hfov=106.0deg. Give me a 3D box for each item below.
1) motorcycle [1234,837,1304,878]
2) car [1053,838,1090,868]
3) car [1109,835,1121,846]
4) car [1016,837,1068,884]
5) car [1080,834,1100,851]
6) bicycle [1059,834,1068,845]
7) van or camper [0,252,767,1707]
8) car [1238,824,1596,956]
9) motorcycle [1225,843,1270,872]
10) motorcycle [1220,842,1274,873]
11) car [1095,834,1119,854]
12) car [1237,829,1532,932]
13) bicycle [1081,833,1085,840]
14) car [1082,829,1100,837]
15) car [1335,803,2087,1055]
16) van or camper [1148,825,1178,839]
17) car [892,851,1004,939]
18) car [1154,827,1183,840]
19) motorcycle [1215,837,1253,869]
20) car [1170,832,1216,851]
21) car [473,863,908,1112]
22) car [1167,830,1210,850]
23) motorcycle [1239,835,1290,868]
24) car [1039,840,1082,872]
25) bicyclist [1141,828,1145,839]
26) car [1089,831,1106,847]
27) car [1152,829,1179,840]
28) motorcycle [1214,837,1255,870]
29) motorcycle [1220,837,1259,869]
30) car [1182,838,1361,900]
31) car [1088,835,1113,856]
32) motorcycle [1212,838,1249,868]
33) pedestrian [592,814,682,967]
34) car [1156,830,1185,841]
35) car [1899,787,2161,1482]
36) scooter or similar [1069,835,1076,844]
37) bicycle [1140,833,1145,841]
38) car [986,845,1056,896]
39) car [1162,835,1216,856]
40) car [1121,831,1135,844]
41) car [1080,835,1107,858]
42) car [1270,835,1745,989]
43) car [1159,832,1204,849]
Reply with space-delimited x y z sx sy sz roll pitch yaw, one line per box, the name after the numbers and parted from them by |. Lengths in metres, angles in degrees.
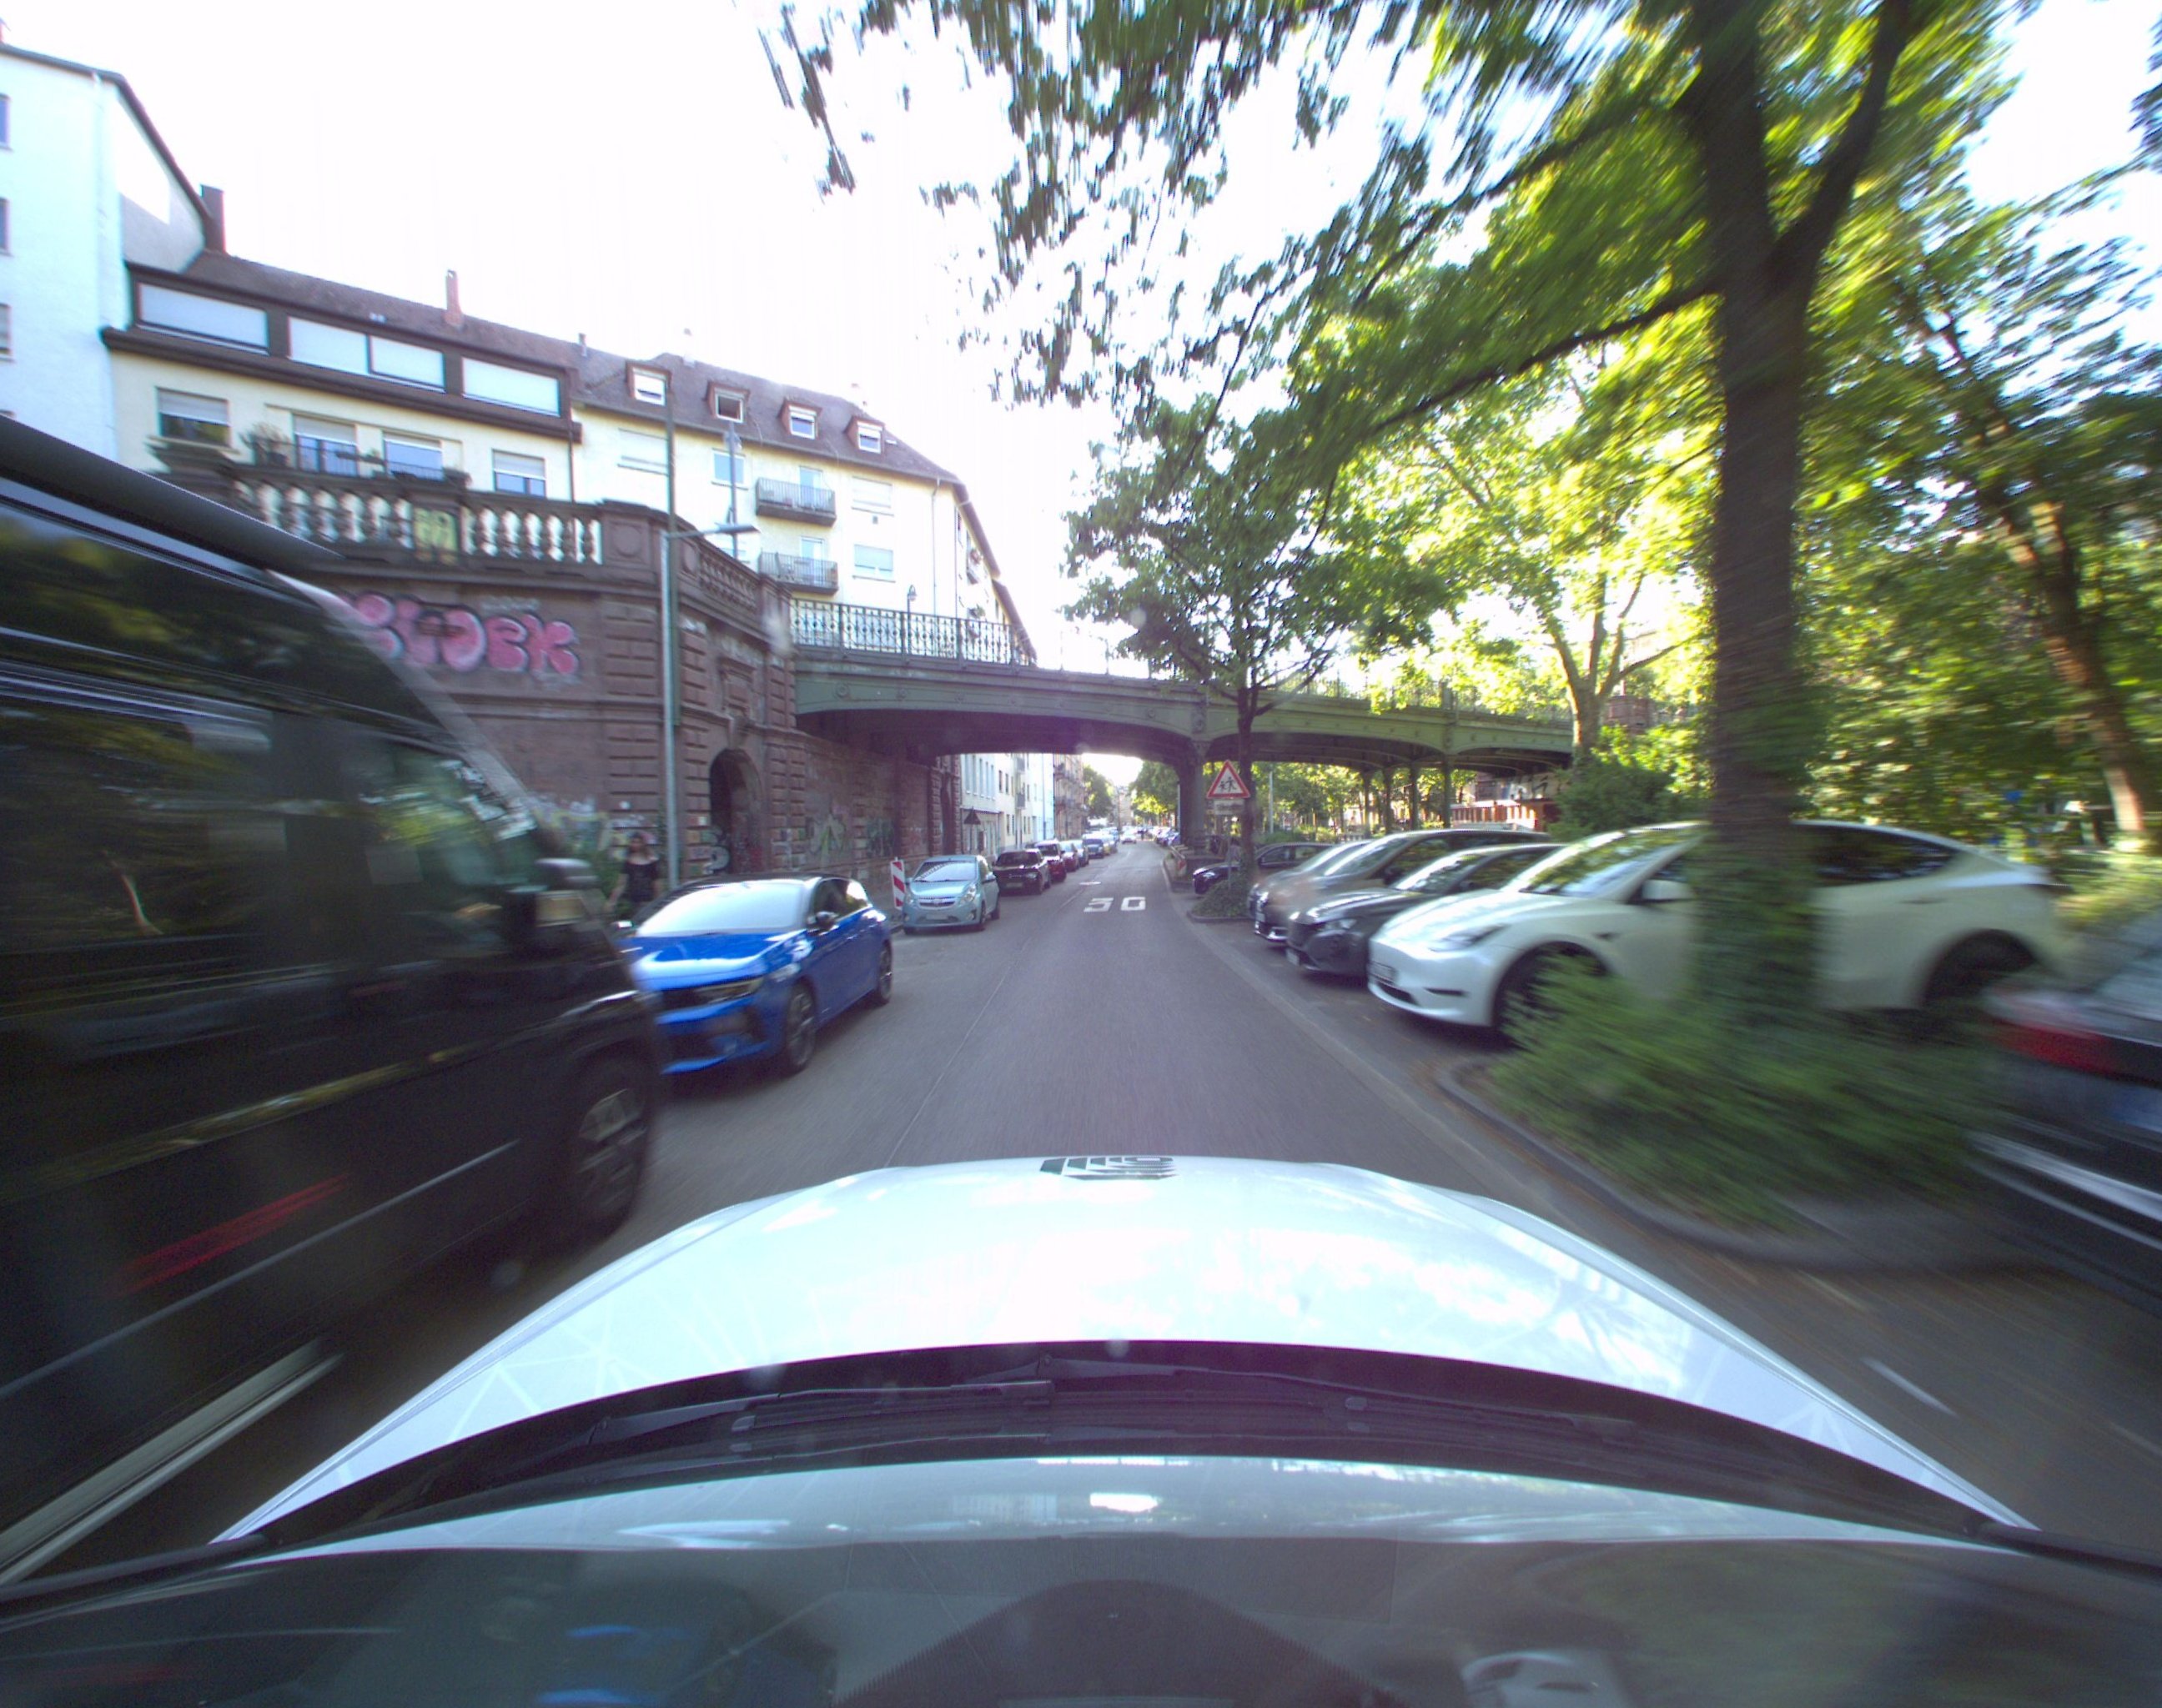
5.838 0.106 25.297 1.937 1.238 0.898 0 0 -22 | motorcycle
-0.487 -0.111 45.646 1.629 1.466 4.005 -4 1 4 | car
4.880 -1.949 116.555 1.495 1.434 2.760 -2 2 8 | car
-1.511 0.208 33.079 1.710 1.707 4.325 -2 1 2 | car
0.850 -1.152 78.343 1.661 1.507 4.004 2 2 3 | car
-2.080 -1.746 96.529 0.733 1.206 2.518 0 2 5 | bicycle
-2.919 0.257 1.368 2.228 2.523 6.422 0 0 1 | van or camper
4.597 0.464 11.630 4.361 1.708 1.906 0 0 -1 | car
6.614 0.115 32.294 1.602 1.132 0.709 0 0 -13 | motorcycle
6.325 0.120 31.025 1.837 1.132 0.845 0 0 -20 | motorcycle
2.195 -0.834 67.452 1.731 1.479 4.006 -2 2 5 | car
5.120 0.444 14.276 4.561 1.606 1.738 -1 0 7 | car
0.287 -3.027 137.592 0.702 1.147 1.890 0 0 1 | bicycle
2.361 -4.942 189.302 3.968 1.706 2.003 0 0 4 | car
4.561 0.505 6.497 4.515 1.696 1.908 0 0 1 | car
14.287 -3.903 141.859 4.963 2.377 2.186 0 0 1 | van or camper
-2.689 0.757 17.272 1.589 1.547 3.916 -2 1 1 | car
13.417 -3.144 124.893 4.200 1.863 1.764 -3 1 4 | car
6.990 -0.041 37.310 1.586 1.408 0.716 0 0 23 | motorcycle
9.503 -1.077 69.209 3.760 1.447 1.668 -2 0 9 | car
-2.883 0.853 7.234 1.739 1.466 4.375 0 0 0 | car
9.825 -1.301 74.779 3.765 1.646 1.666 -2 0 4 | car
6.461 -0.077 28.624 1.731 1.132 0.705 0 0 -31 | motorcycle
-0.966 0.077 40.609 1.681 1.441 4.005 -1 1 4 | car
9.135 -3.034 120.412 0.625 1.573 0.803 0 0 2 | bicyclist
1.914 -1.713 93.266 1.744 1.705 4.205 0 2 3 | car
13.388 -3.074 129.225 4.196 1.453 1.653 -3 1 7 | car
6.658 -0.034 35.311 1.586 1.408 0.716 0 0 23 | motorcycle
7.033 -0.037 36.107 1.586 1.408 0.716 0 0 23 | motorcycle
4.923 0.380 21.465 4.358 1.577 1.675 0 0 1 | car
1.529 -0.703 62.608 1.695 1.525 3.777 -2 1 3 | car
6.994 -0.045 38.181 1.586 1.408 0.716 0 0 23 | motorcycle
-5.799 0.451 10.693 0.636 1.914 1.046 0 0 -3 | pedestrian
13.086 -2.763 119.599 4.067 1.442 1.762 -3 1 1 | car
4.441 0.633 1.618 4.005 1.574 1.588 0 0 1 | car
-1.188 -2.069 114.542 0.780 1.222 2.707 0 0 4 | scooter or similar
9.136 -2.554 120.344 0.638 1.100 1.945 0 0 3 | bicycle
-1.916 0.495 27.174 1.709 1.464 4.005 -2 1 4 | car
7.796 -0.609 59.107 3.764 1.401 1.830 -2 0 4 | car
5.958 -2.076 103.517 1.661 1.430 4.006 -4 3 4 | car
0.901 -0.532 57.265 1.559 1.517 3.788 -2 1 5 | car
4.491 0.577 9.118 4.358 1.533 1.877 0 0 1 | car
10.122 -1.358 82.030 4.377 1.577 1.667 -2 0 6 | car
